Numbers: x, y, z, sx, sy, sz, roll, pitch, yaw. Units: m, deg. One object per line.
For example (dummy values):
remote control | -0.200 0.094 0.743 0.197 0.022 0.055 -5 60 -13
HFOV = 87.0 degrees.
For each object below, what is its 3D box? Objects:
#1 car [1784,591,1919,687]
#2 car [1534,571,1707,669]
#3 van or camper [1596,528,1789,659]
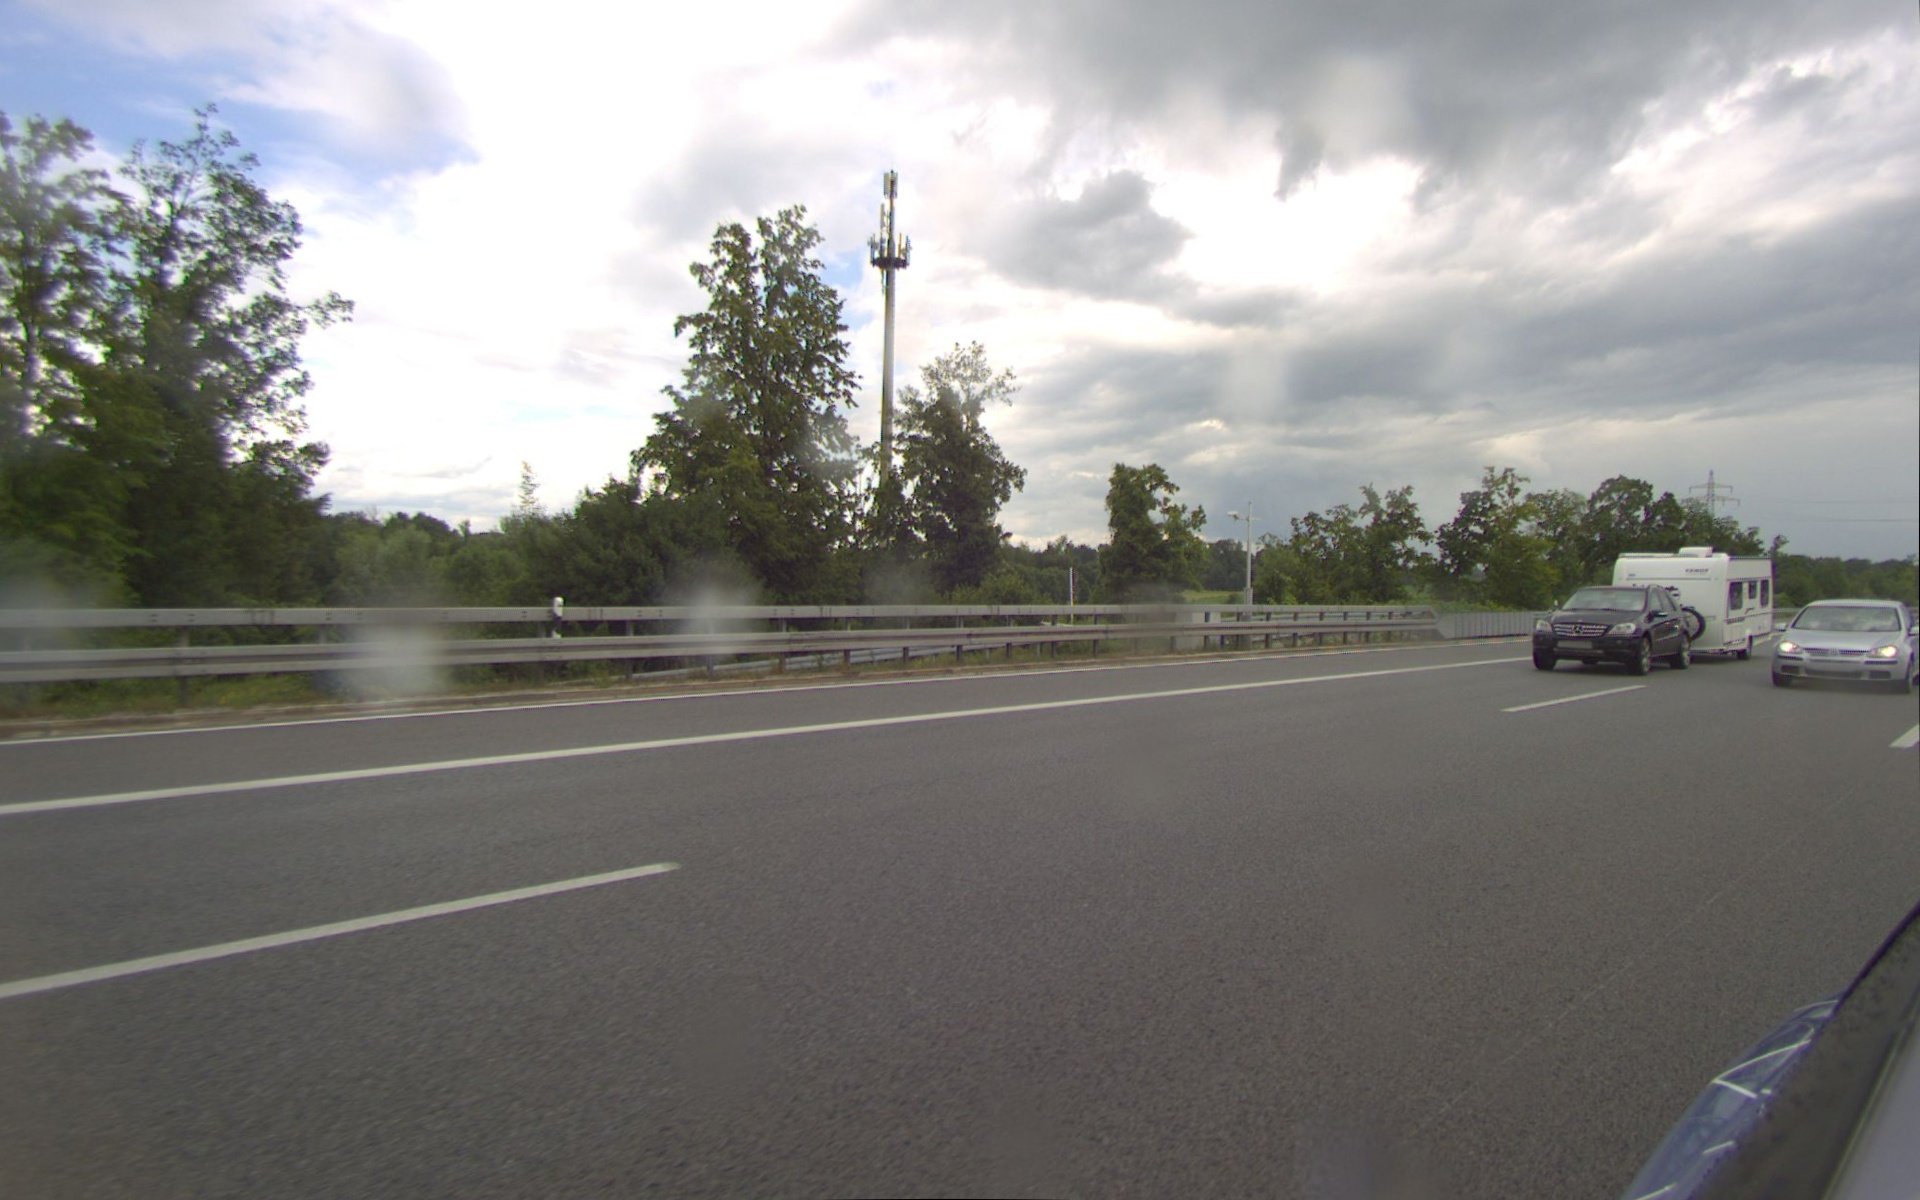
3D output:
car | 15.614 0.590 17.397 3.931 1.464 1.681 0 1 -42
car | 13.611 0.352 20.755 4.425 1.798 1.923 0 1 -42
van or camper | 17.940 -0.152 24.603 7.085 2.773 2.387 0 0 -42
